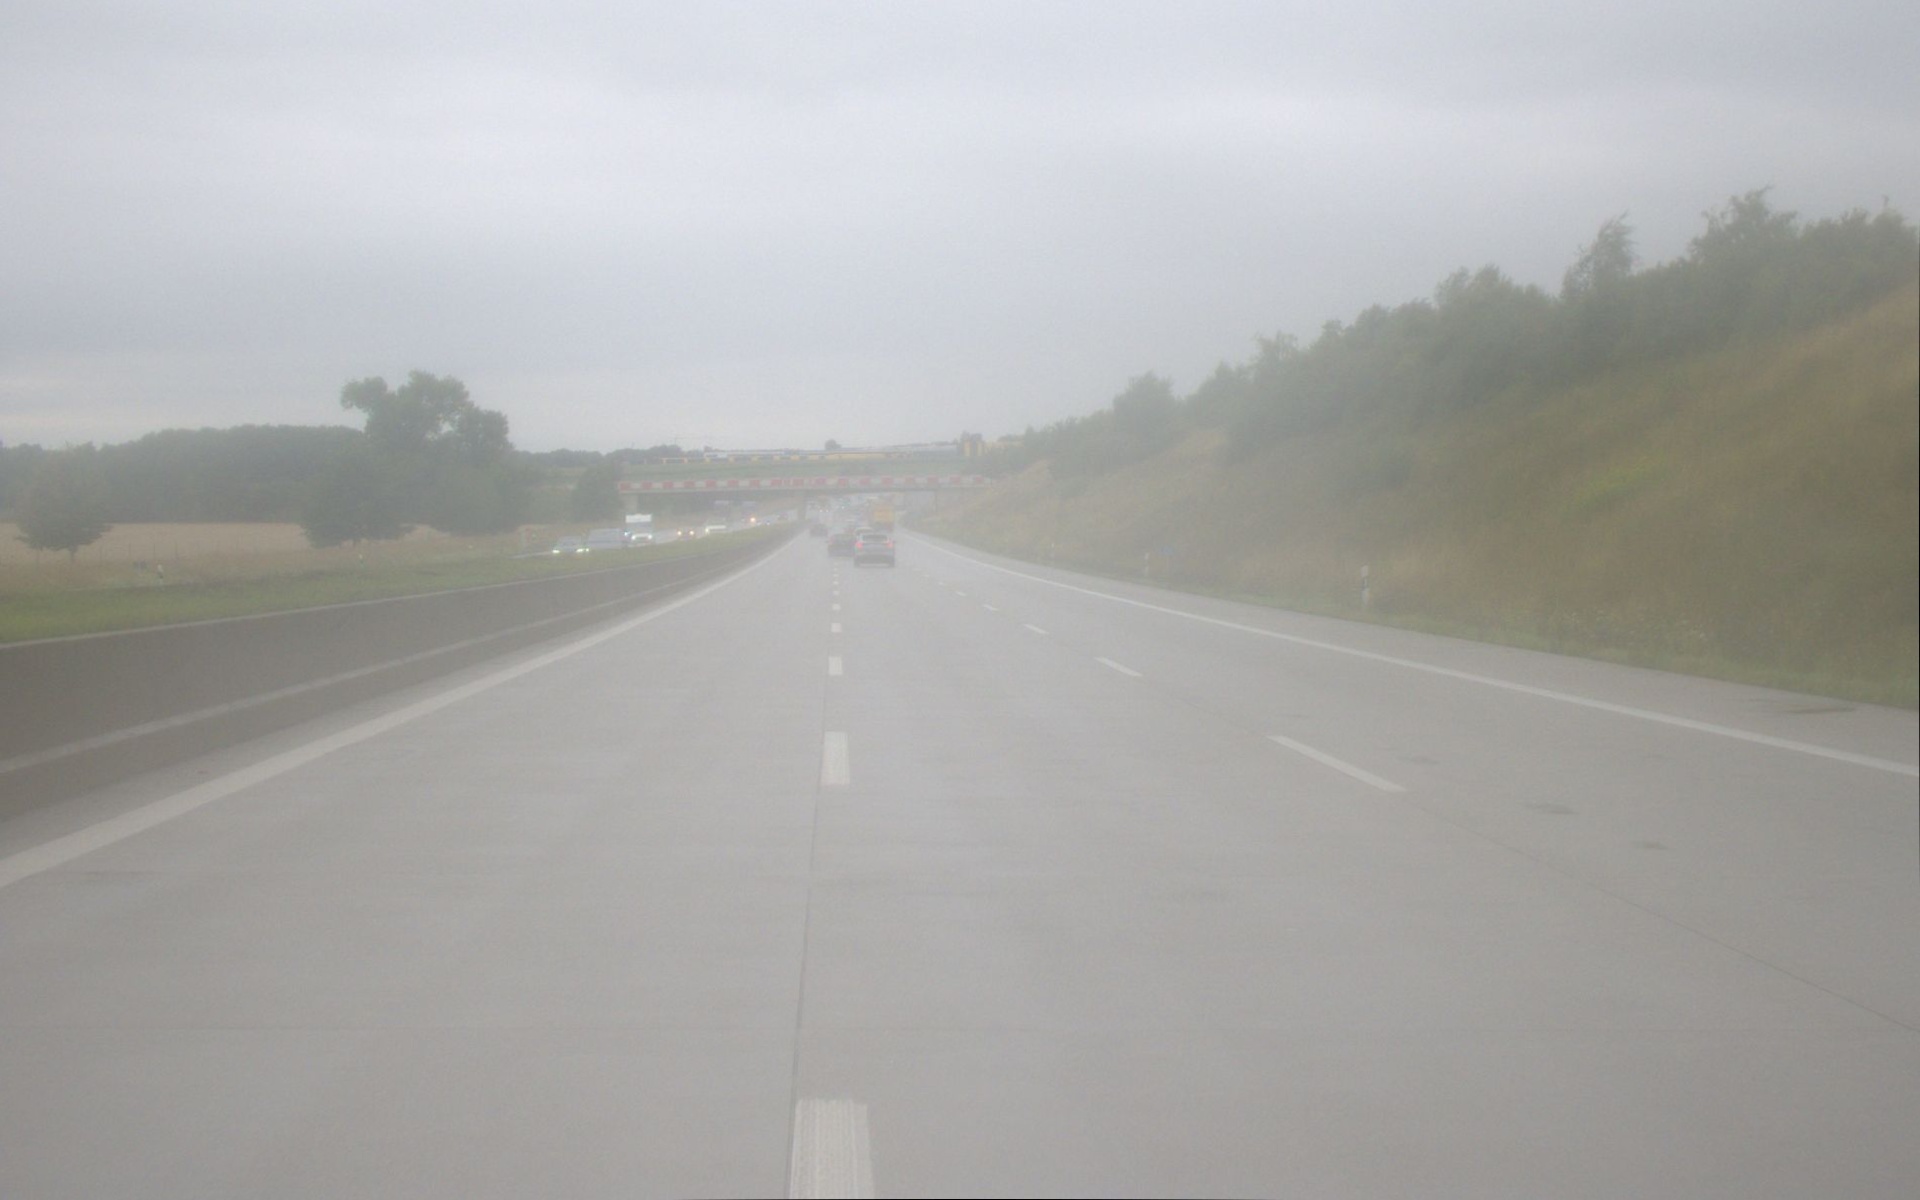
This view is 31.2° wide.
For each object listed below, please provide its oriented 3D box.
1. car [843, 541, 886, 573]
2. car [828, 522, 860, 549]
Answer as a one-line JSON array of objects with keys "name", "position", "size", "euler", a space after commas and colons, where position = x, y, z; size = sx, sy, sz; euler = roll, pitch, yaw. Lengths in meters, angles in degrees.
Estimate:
[{"name": "car", "position": [-4.430, -1.996, 159.386], "size": [1.847, 1.326, 4.431], "euler": [0, 3, -3]}, {"name": "car", "position": [-6.356, -3.563, 188.980], "size": [1.729, 1.326, 4.430], "euler": [0, 3, -1]}]
